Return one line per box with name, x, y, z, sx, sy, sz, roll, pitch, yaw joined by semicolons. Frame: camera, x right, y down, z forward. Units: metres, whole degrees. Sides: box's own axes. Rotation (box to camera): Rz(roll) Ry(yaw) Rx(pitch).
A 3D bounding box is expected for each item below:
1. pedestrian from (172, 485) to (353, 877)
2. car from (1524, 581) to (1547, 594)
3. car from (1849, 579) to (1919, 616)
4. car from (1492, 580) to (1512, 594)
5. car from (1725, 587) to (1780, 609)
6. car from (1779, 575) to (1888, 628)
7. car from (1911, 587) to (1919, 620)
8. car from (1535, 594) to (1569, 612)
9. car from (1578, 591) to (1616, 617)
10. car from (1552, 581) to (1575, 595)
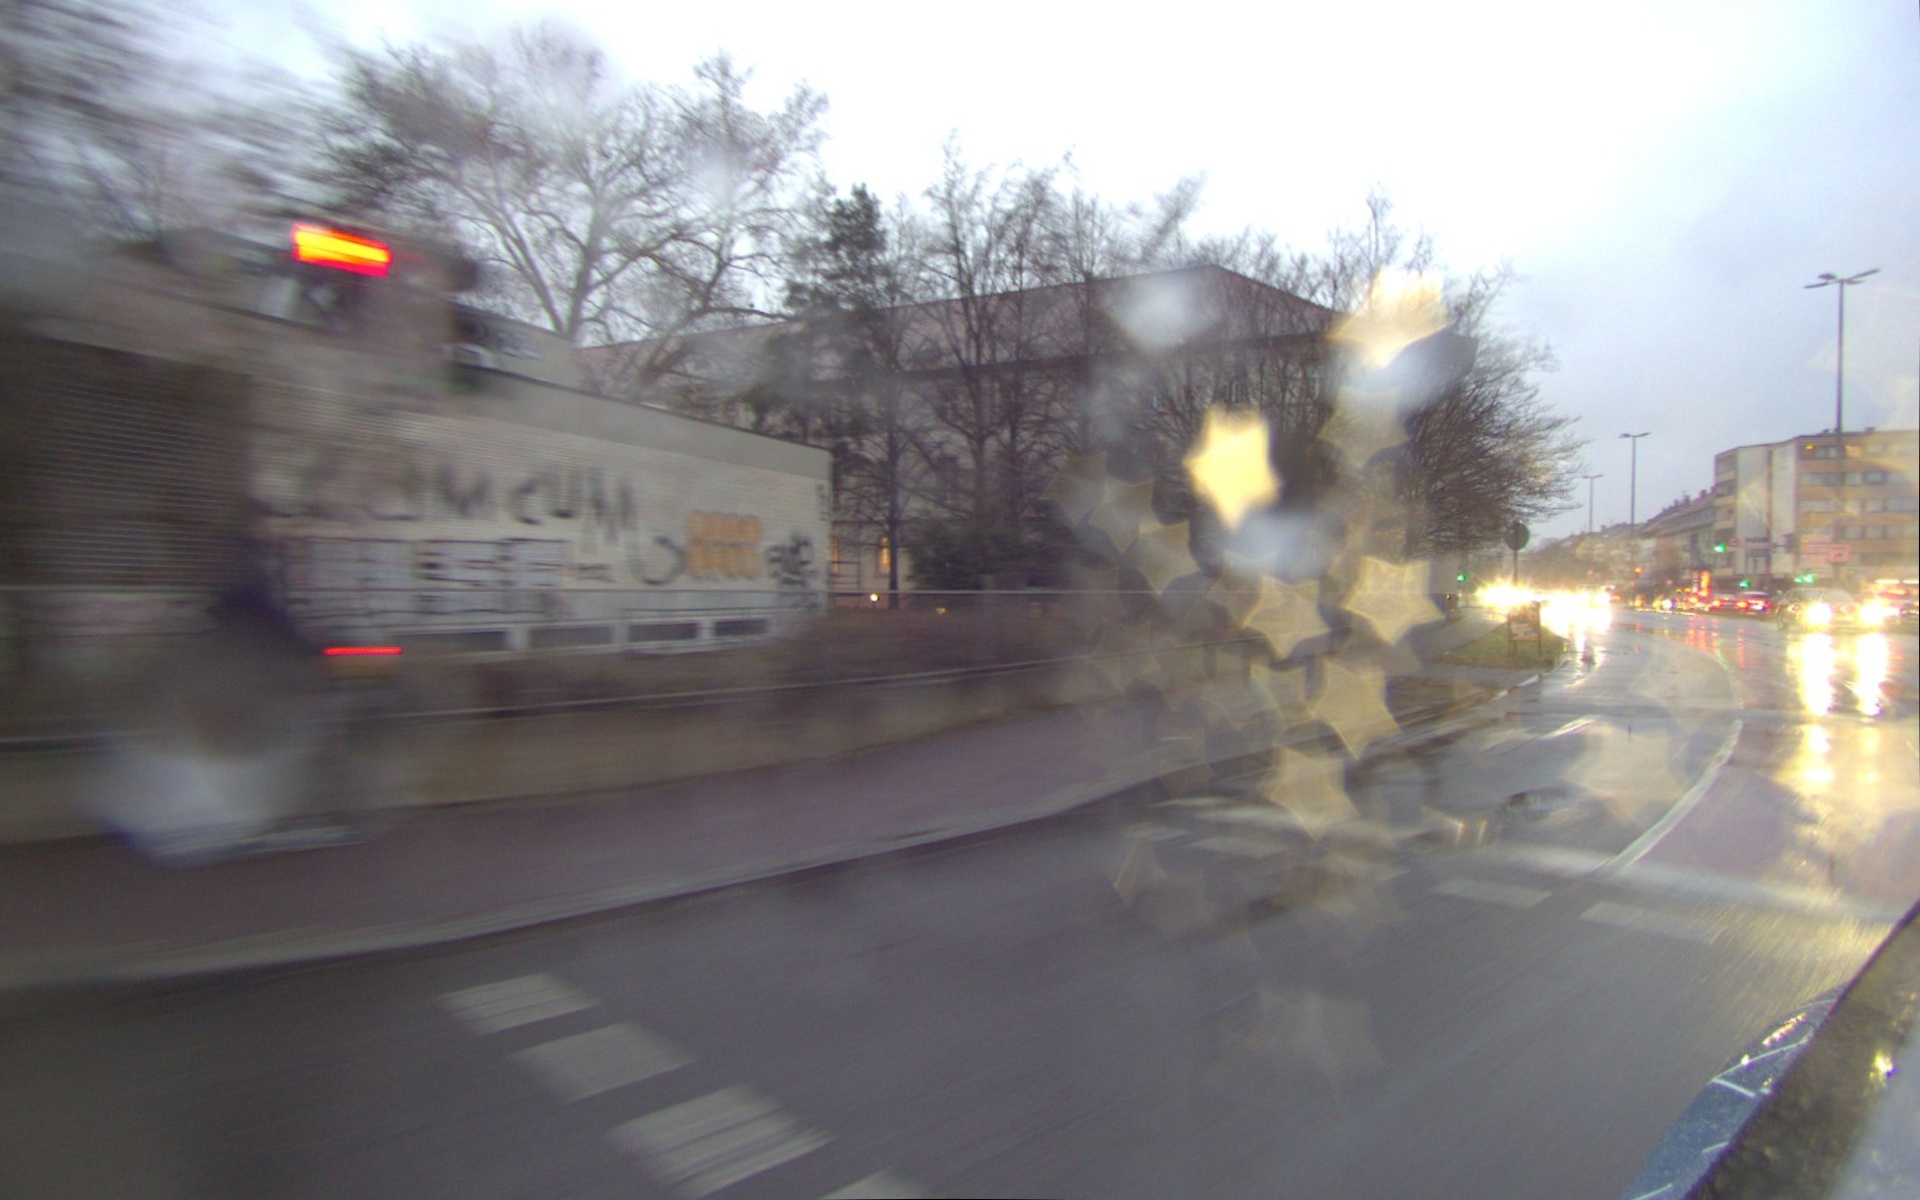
pedestrian;-3.605;0.377;5.228;0.670;1.860;0.574;2;5;-38
car;69.511;-1.520;122.283;1.979;1.554;3.966;0;0;25
car;47.256;-0.133;51.336;1.948;1.805;4.496;1;1;24
car;66.281;-1.606;123.816;1.979;1.717;3.966;0;0;25
car;55.473;-0.161;70.893;1.948;1.404;4.496;1;1;24
car;31.534;0.003;36.672;1.801;1.764;4.152;1;1;24
car;44.064;0.183;44.902;1.635;1.505;3.962;1;1;27
car;49.017;0.194;83.894;1.948;1.404;4.496;1;1;24
car;52.095;0.269;82.794;1.978;2.039;3.969;1;1;23
car;71.913;-1.410;120.613;1.979;1.628;3.966;0;0;25
